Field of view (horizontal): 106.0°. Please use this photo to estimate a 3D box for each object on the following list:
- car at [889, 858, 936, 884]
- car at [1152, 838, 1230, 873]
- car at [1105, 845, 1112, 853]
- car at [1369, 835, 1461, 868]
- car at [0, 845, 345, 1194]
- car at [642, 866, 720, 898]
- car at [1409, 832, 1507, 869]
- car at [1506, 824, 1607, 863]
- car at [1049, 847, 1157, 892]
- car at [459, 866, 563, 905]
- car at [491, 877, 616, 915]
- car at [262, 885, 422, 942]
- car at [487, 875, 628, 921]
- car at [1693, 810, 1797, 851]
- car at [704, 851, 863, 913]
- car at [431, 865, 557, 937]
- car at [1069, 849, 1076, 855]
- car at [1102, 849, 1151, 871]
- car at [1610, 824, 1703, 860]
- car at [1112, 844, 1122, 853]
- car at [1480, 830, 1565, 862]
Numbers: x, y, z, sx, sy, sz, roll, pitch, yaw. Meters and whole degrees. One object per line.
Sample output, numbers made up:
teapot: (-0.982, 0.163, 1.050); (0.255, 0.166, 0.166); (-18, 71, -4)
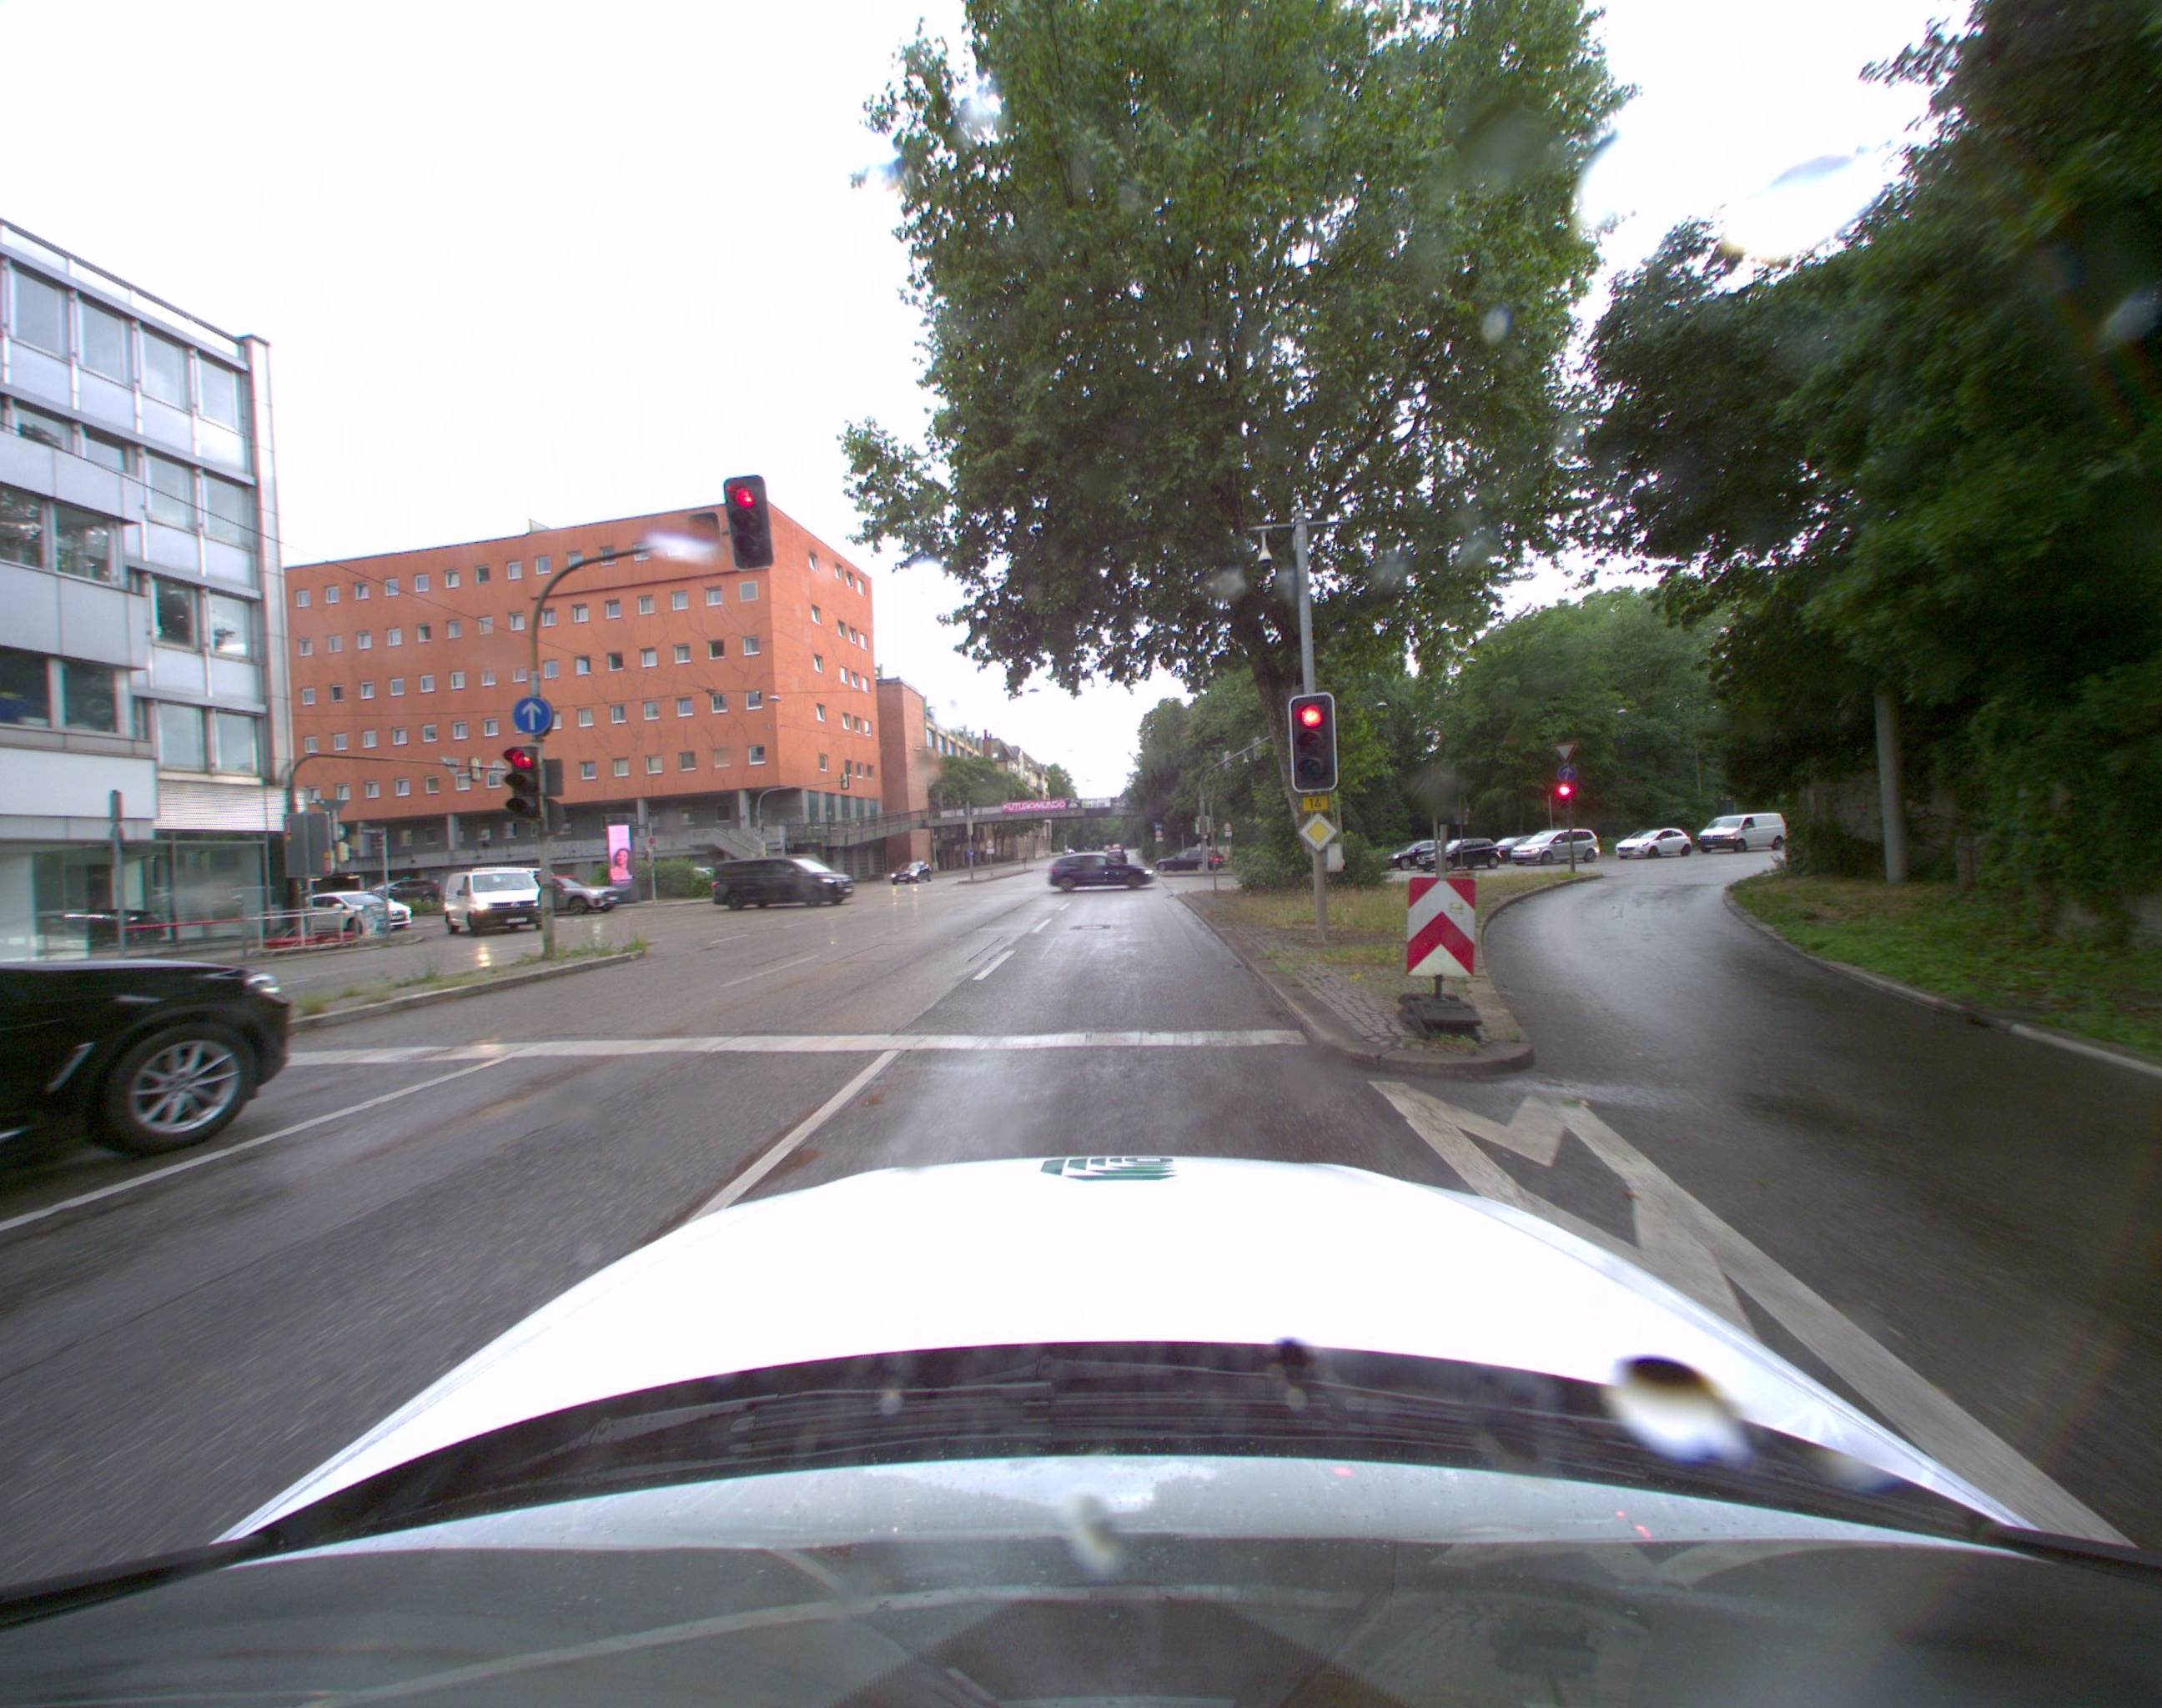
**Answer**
car: (-10.900, 1.055, 52.871); (1.986, 1.519, 4.003); (-3, 0, 2)
car: (7.017, 0.115, 51.879); (4.296, 1.836, 2.149); (-5, 0, 32)
car: (6.572, -1.181, 194.500); (1.756, 1.697, 3.707); (-5, 0, 2)
car: (16.886, -0.129, 41.228); (3.998, 1.486, 1.867); (-2, 0, -18)
car: (-6.026, 0.808, 3.105); (1.939, 1.597, 4.675); (-1, 1, 4)
car: (-25.358, 1.757, 51.686); (3.988, 1.618, 1.900); (-5, 0, 11)
car: (17.287, -0.149, 37.426); (3.858, 1.485, 1.665); (-2, -1, -13)
car: (22.994, -0.512, 39.371); (4.272, 1.486, 1.763); (-5, 0, -18)
car: (0.906, 0.602, 32.558); (4.116, 1.446, 1.587); (-5, 0, 5)
car: (-32.632, 1.767, 46.810); (1.981, 2.013, 4.864); (1, 0, 9)
car: (-25.128, 1.988, 38.922); (4.597, 1.451, 1.770); (-3, 0, -6)
car: (-27.237, 2.199, 30.068); (4.773, 1.637, 2.008); (-5, 0, 15)
car: (-21.377, 1.778, 33.362); (4.493, 1.637, 1.882); (-2, 0, 2)
car: (35.131, -1.244, 43.068); (4.858, 1.922, 1.897); (-3, 0, -18)
car: (-10.946, 1.018, 30.121); (5.044, 1.845, 2.006); (-4, -1, 10)
car: (-18.544, 1.516, 25.617); (5.145, 1.932, 2.013); (-5, 0, 41)
car: (-2.578, -0.670, 243.864); (1.613, 1.697, 3.551); (-5, 0, 2)
car: (3.687, 0.493, 66.654); (1.887, 1.637, 4.482); (-2, 0, -30)
car: (29.237, -0.617, 41.397); (3.998, 1.486, 1.763); (-5, 0, -18)
car: (7.815, -1.243, 177.564); (2.114, 1.734, 4.198); (-1, 1, 0)
car: (23.077, -0.395, 42.576); (3.833, 1.486, 1.735); (-3, 0, -18)
